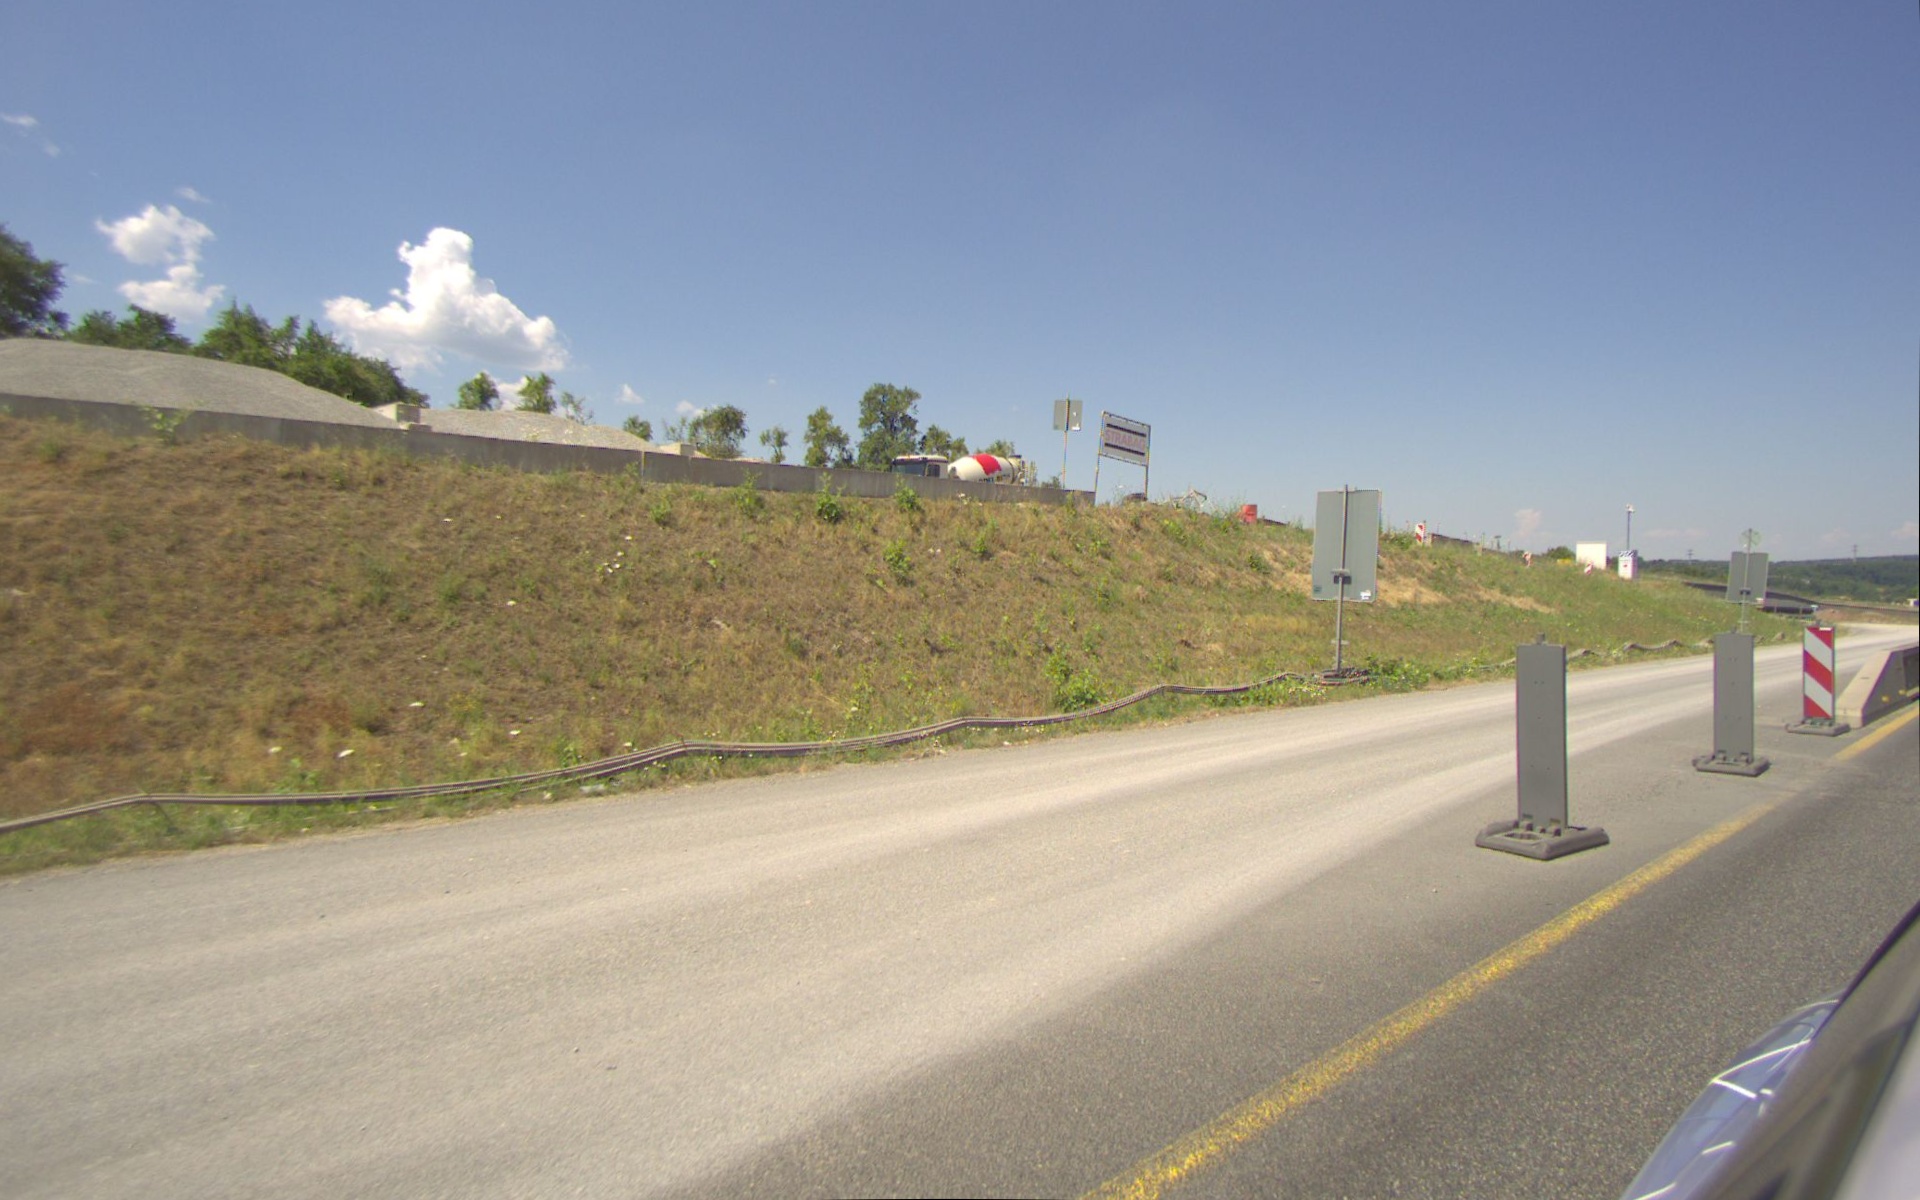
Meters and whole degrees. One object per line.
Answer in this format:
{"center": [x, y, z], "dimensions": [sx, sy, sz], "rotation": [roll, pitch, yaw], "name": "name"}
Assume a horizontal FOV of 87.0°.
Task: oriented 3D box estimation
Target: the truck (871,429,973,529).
{"center": [-1.730, -5.515, 47.101], "dimensions": [2.742, 4.147, 4.040], "rotation": [1, 1, 41], "name": "truck"}

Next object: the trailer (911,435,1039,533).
{"center": [0.845, -5.584, 50.134], "dimensions": [2.753, 4.166, 6.647], "rotation": [1, 1, 40], "name": "trailer"}
